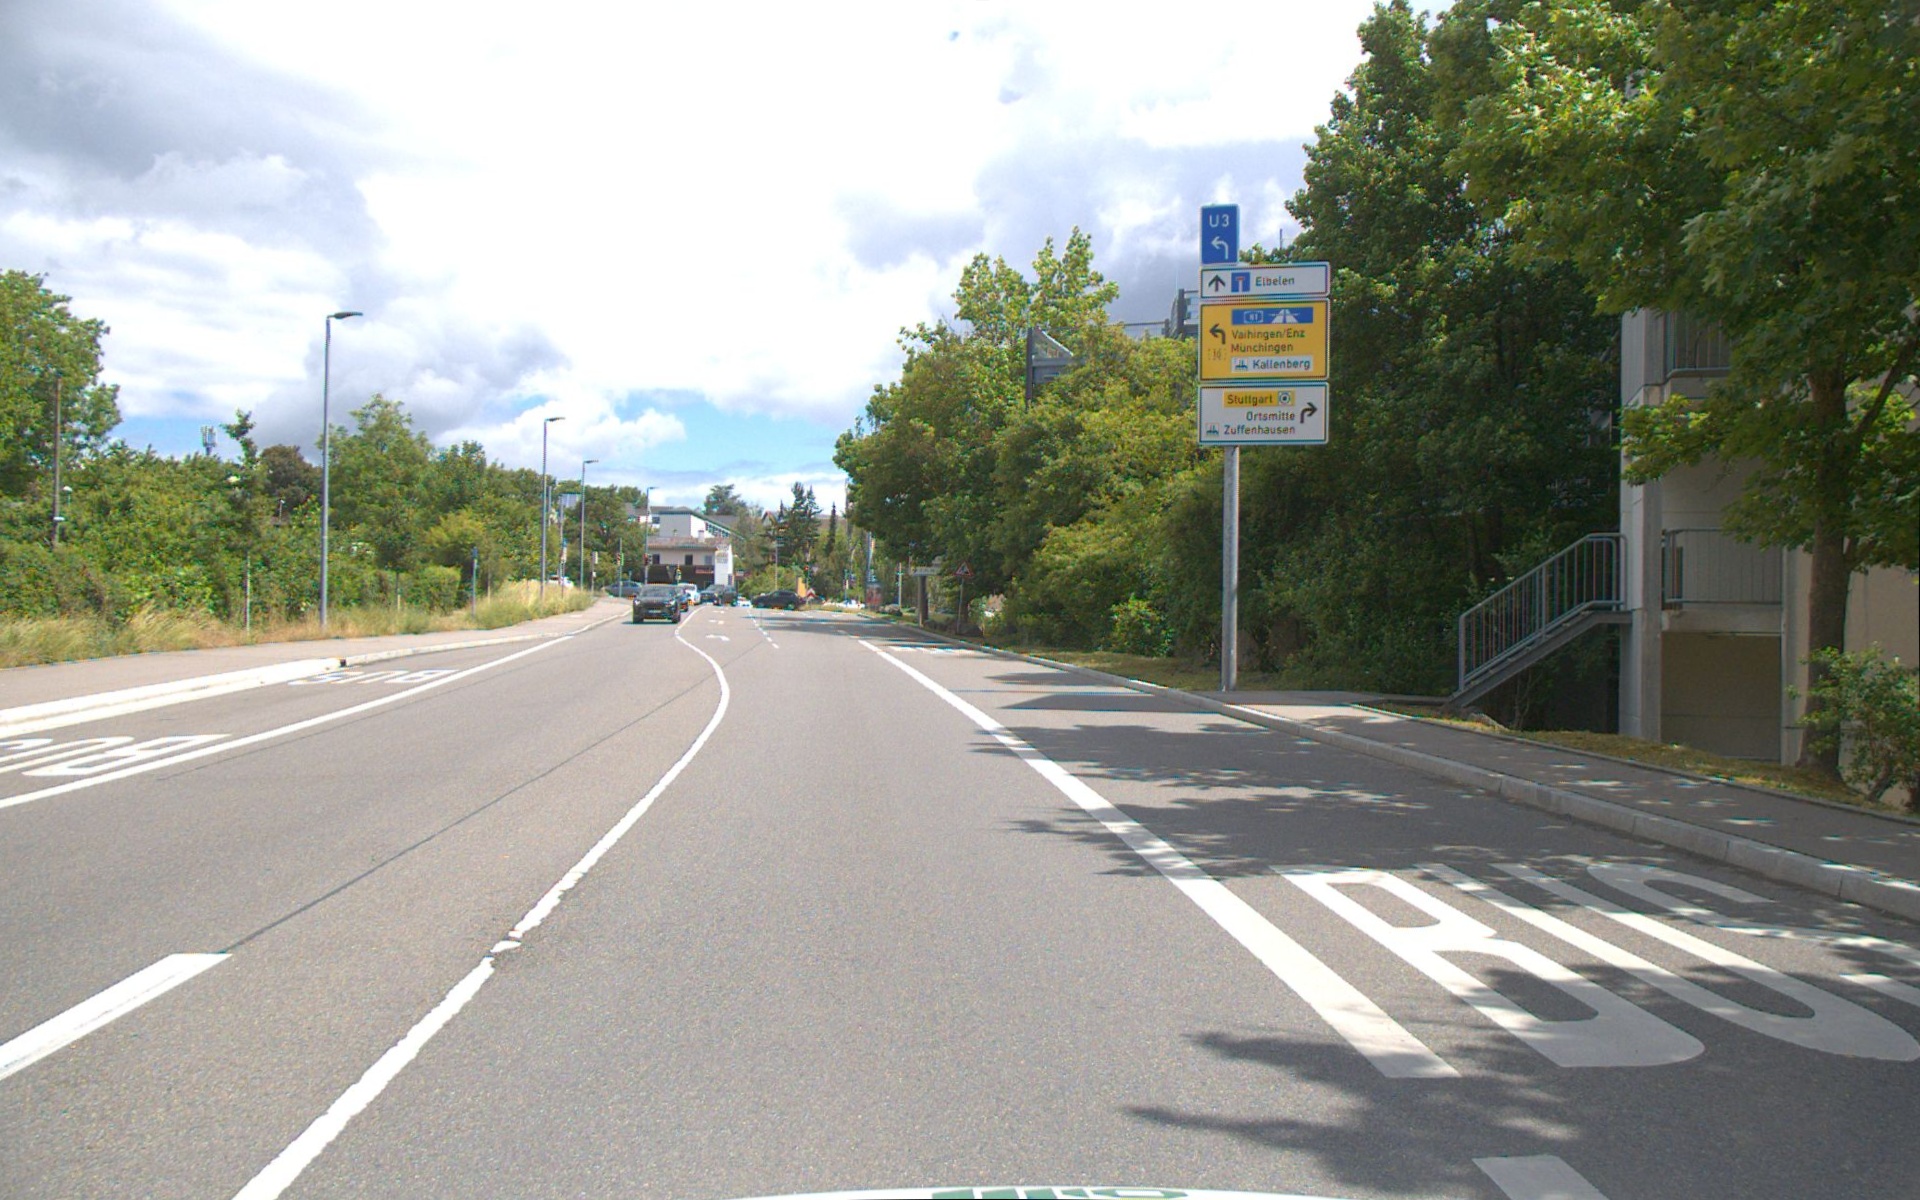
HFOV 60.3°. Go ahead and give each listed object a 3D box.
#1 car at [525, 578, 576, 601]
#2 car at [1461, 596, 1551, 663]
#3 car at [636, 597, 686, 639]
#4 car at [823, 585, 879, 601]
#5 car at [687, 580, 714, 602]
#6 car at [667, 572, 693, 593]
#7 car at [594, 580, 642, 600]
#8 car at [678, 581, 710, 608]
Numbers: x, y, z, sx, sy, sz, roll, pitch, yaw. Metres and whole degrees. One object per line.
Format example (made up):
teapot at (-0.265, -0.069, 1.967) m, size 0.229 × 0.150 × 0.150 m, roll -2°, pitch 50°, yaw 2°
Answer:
car at (-35.819, -0.925, 144.716) m, size 3.904 × 1.937 × 2.000 m, roll 0°, pitch 0°, yaw 1°
car at (15.649, 0.842, 47.549) m, size 1.837 × 1.831 × 3.708 m, roll -1°, pitch -1°, yaw 9°
car at (-12.354, 0.712, 68.593) m, size 1.788 × 1.584 × 4.621 m, roll -1°, pitch 1°, yaw -8°
car at (-9.352, -0.613, 142.037) m, size 4.524 × 1.314 × 1.900 m, roll 0°, pitch 0°, yaw -19°
car at (-20.492, -0.707, 130.597) m, size 1.785 × 1.683 × 4.529 m, roll 0°, pitch 0°, yaw -4°
car at (-19.511, -1.201, 115.175) m, size 1.733 × 1.467 × 3.892 m, roll 0°, pitch 0°, yaw -9°
car at (-30.700, -0.911, 148.484) m, size 3.906 × 1.742 × 1.894 m, roll 0°, pitch 0°, yaw -2°
car at (-14.780, -0.324, 92.003) m, size 1.733 × 1.467 × 4.368 m, roll 0°, pitch 0°, yaw -9°
